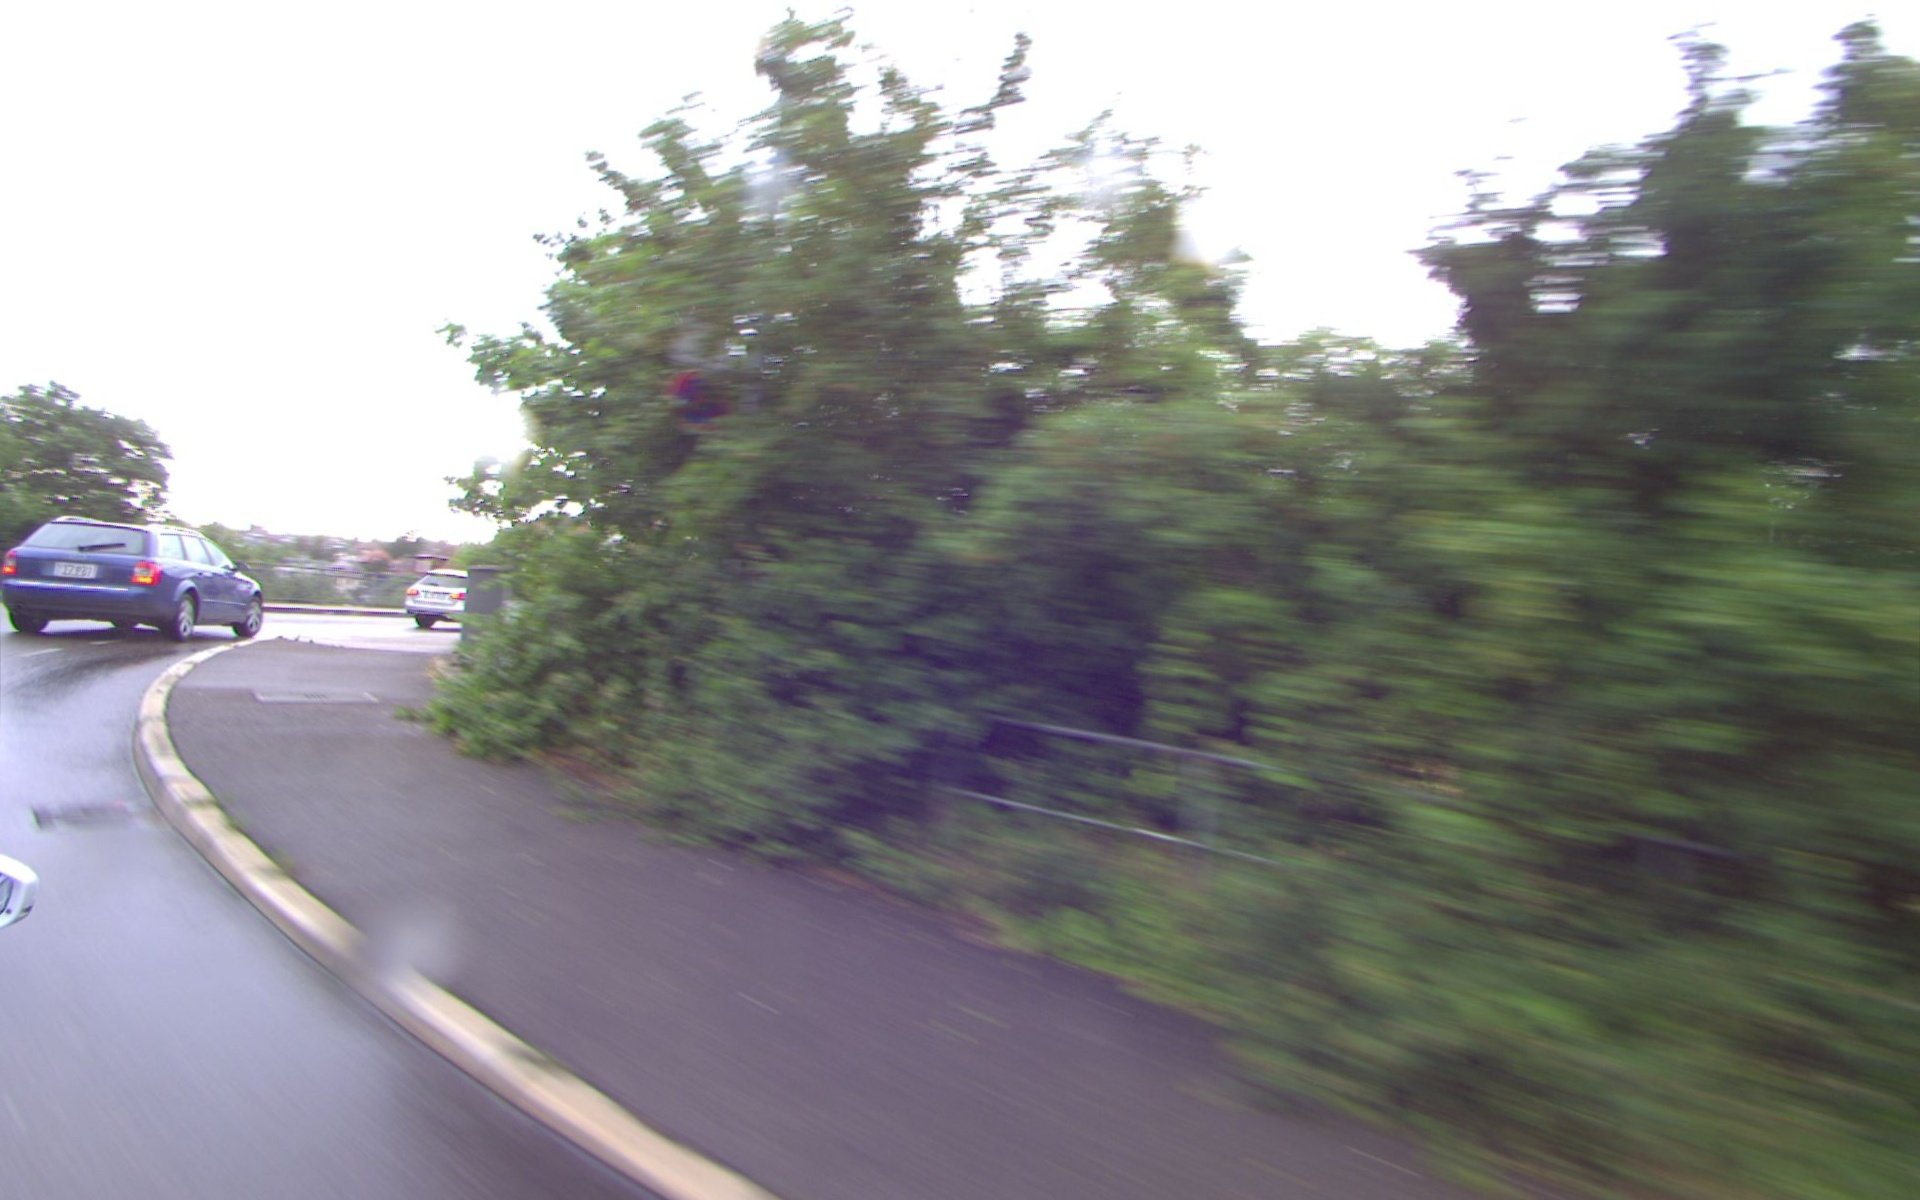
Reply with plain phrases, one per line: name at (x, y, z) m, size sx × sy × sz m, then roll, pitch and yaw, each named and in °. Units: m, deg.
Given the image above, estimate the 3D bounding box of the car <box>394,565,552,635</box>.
car at (-12.335, 0.066, 25.805) m, size 1.861 × 1.405 × 4.003 m, roll 7°, pitch -2°, yaw 2°

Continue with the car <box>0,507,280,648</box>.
car at (-10.854, -0.304, 13.505) m, size 1.728 × 1.424 × 3.983 m, roll 7°, pitch -1°, yaw -19°
